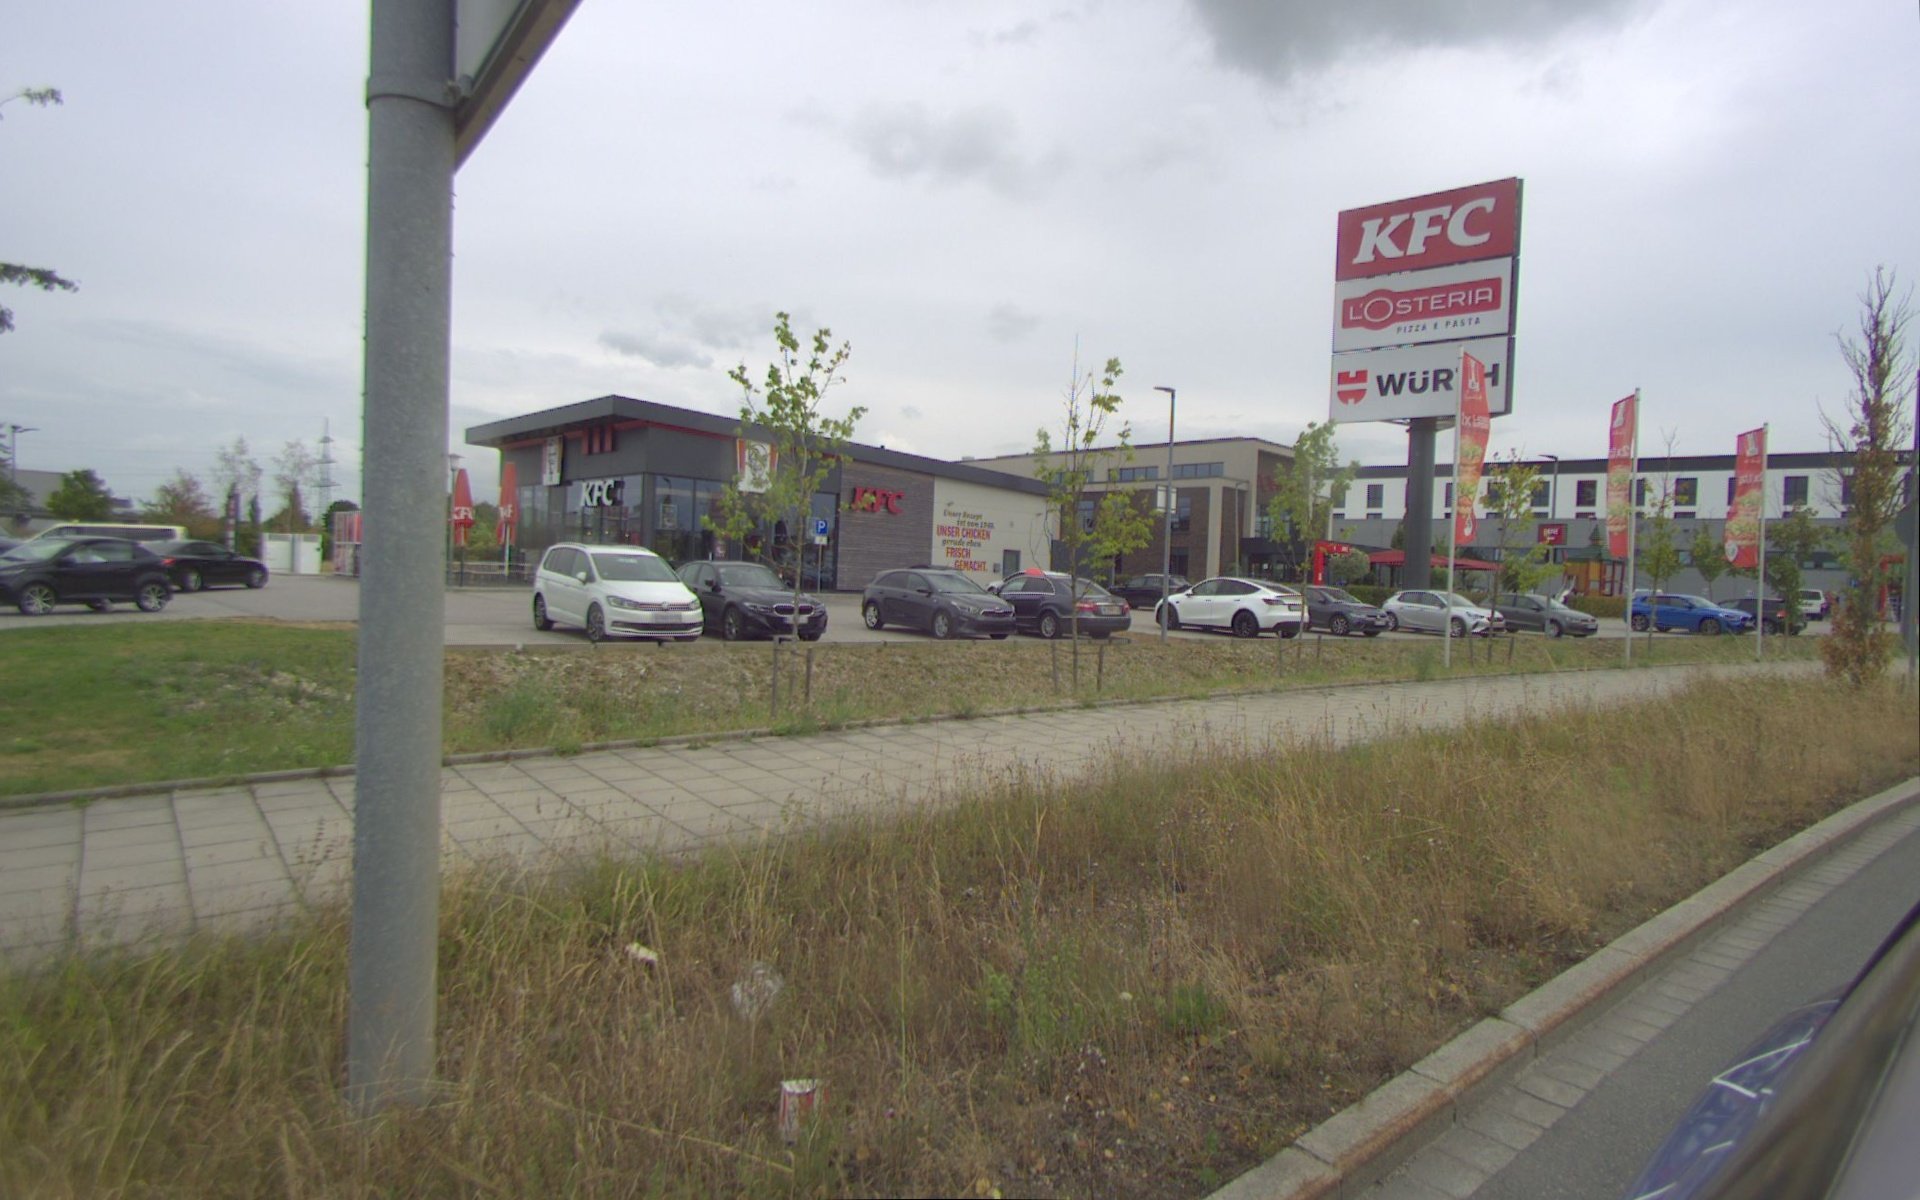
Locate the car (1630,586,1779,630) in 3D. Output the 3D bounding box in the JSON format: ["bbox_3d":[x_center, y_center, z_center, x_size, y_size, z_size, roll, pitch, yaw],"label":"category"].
[{"bbox_3d":[28.943,0.280,39.506,1.924,1.539,4.285,1,2,-24],"label":"car"}]

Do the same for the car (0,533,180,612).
[{"bbox_3d":[-16.480,-0.499,18.683,1.502,1.326,3.079,1,1,12],"label":"car"}]

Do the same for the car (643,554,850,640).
[{"bbox_3d":[-4.276,-0.120,19.796,2.037,1.454,4.477,1,2,-41],"label":"car"}]

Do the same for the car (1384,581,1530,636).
[{"bbox_3d":[16.149,0.244,33.101,1.863,1.499,3.882,1,3,-28],"label":"car"}]

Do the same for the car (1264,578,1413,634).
[{"bbox_3d":[11.639,0.141,31.363,1.901,1.503,4.006,0,2,-29],"label":"car"}]

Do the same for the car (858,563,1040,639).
[{"bbox_3d":[-0.338,-0.028,22.648,1.908,1.456,4.094,1,2,-39],"label":"car"}]

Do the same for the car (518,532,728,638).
[{"bbox_3d":[-6.152,-0.323,18.181,1.905,1.660,4.353,1,2,-43],"label":"car"}]

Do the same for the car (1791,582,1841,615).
[{"bbox_3d":[55.539,-0.128,65.719,1.987,2.012,4.578,2,1,35],"label":"car"}]

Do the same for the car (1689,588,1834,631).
[{"bbox_3d":[31.513,0.354,39.934,1.940,1.512,4.009,1,1,-21],"label":"car"}]

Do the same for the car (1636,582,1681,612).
[{"bbox_3d":[42.556,-0.173,61.613,1.990,1.718,4.727,2,1,38],"label":"car"}]

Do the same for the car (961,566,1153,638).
[{"bbox_3d":[2.196,-0.005,24.098,1.995,1.487,4.531,1,2,-38],"label":"car"}]

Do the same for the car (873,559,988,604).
[{"bbox_3d":[-1.205,-0.738,39.352,2.014,1.537,4.369,0,3,-44],"label":"car"}]

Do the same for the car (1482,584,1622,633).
[{"bbox_3d":[20.430,0.268,35.079,1.851,1.512,3.777,1,2,-26],"label":"car"}]

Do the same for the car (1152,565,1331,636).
[{"bbox_3d":[7.733,-0.043,28.257,2.048,1.665,4.581,1,3,-33],"label":"car"}]

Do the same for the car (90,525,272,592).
[{"bbox_3d":[-22.144,-1.222,29.024,1.967,1.723,4.382,2,3,-2],"label":"car"}]

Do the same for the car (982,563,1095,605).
[{"bbox_3d":[3.223,-0.699,42.311,2.045,1.537,4.569,0,3,-42],"label":"car"}]

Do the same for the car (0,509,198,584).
[{"bbox_3d":[-30.975,-1.865,36.235,5.578,2.380,2.539,1,1,-31],"label":"car"}]

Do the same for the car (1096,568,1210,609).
[{"bbox_3d":[8.294,-0.535,43.762,1.945,1.537,4.567,0,3,-44],"label":"car"}]

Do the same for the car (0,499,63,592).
[{"bbox_3d":[-29.812,-1.633,28.310,7.184,2.533,2.283,2,1,-3],"label":"car"}]
